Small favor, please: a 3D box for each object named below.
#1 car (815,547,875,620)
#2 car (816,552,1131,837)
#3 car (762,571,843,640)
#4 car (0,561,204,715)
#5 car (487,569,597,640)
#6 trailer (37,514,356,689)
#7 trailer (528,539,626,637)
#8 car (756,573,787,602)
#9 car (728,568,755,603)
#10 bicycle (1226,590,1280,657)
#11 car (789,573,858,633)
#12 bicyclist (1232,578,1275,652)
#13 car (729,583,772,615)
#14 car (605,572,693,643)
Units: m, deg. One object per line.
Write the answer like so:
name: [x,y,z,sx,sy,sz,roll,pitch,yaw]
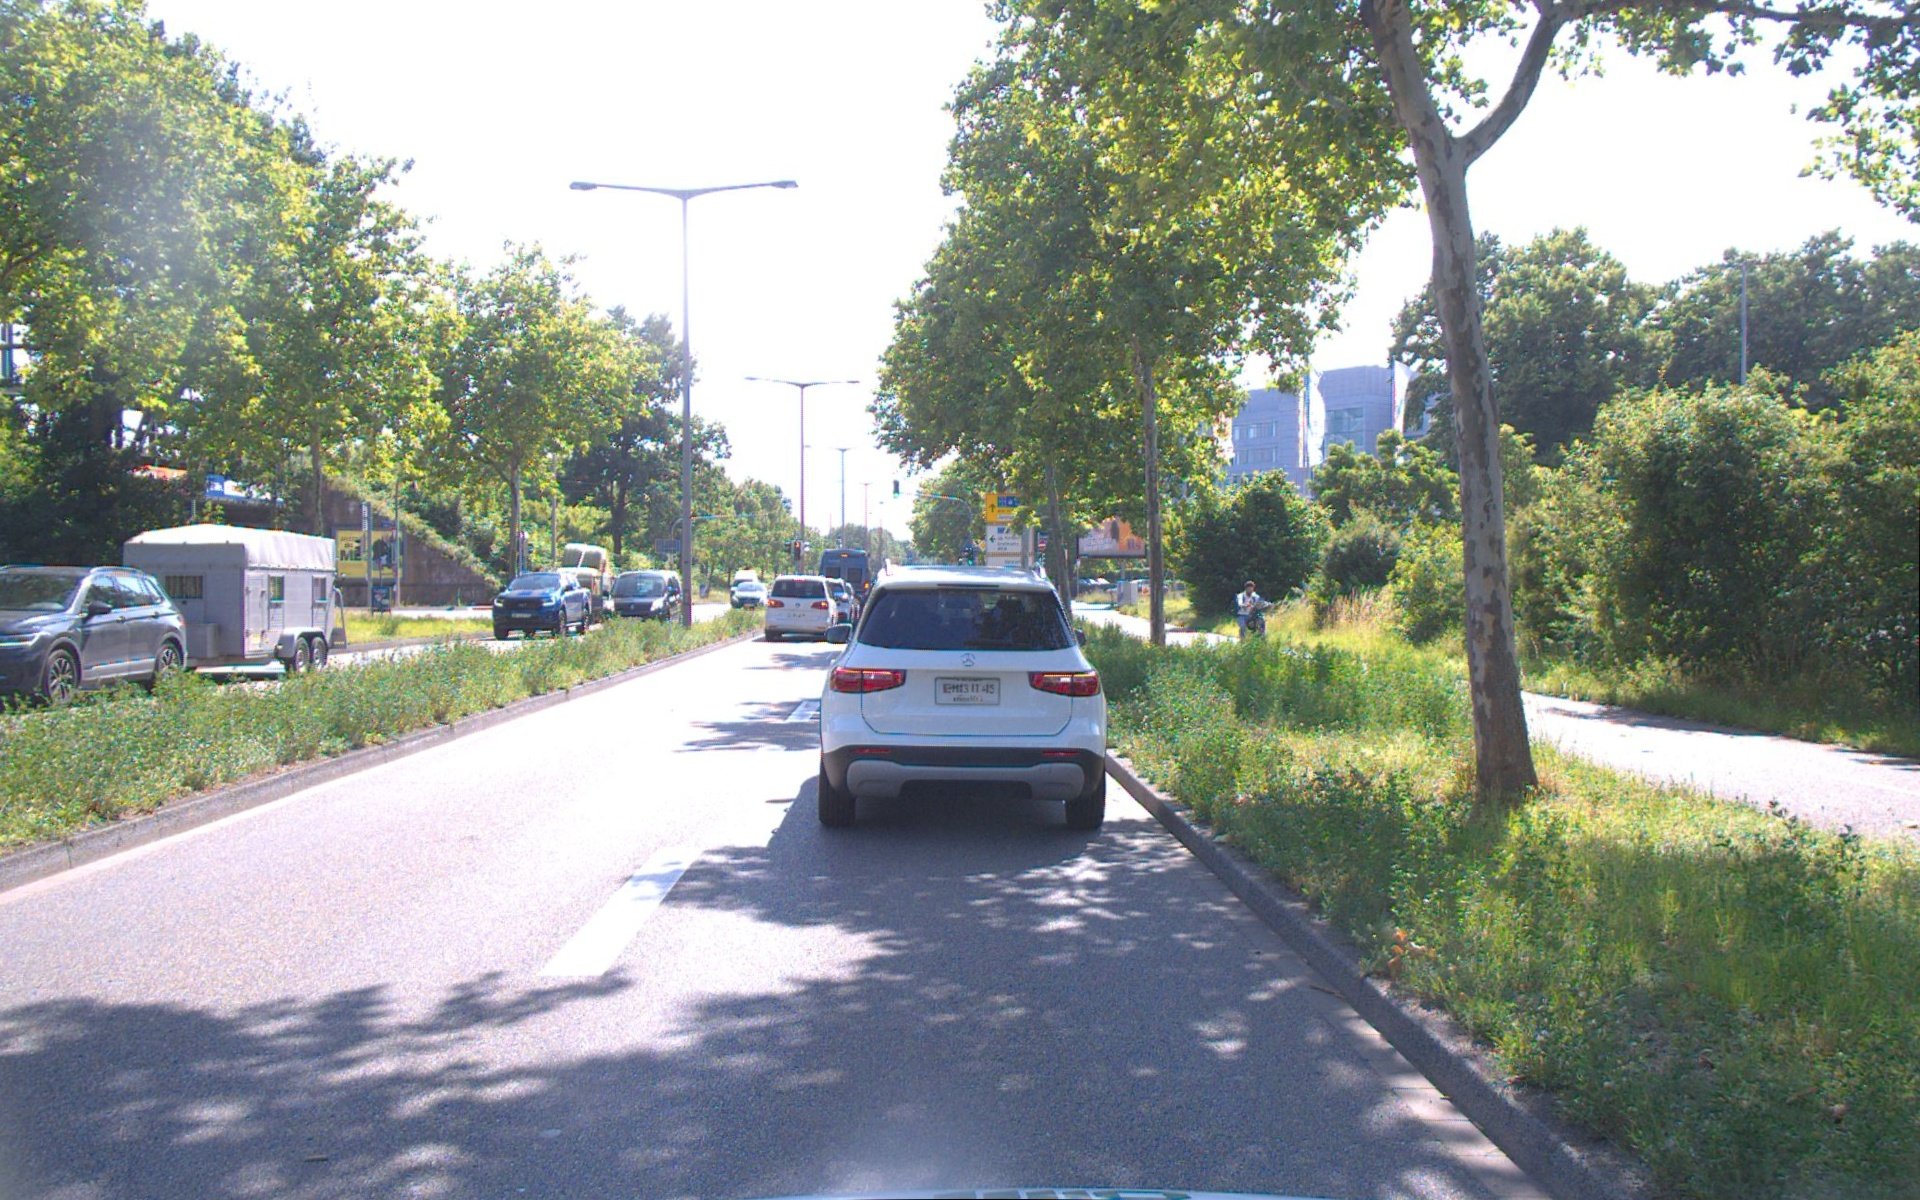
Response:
car: [-4.513,-0.643,65.397,2.039,2.703,4.873,1,0,-1]
car: [0.009,0.529,11.547,1.816,1.635,3.998,0,0,-2]
car: [-4.068,0.129,43.189,1.735,1.676,4.351,1,0,-1]
car: [-10.883,0.391,19.839,1.680,1.650,4.360,0,0,-1]
car: [-11.553,0.102,46.048,1.728,1.821,5.375,2,0,-1]
trailer: [-11.172,0.007,24.795,2.262,2.305,5.537,0,0,-1]
trailer: [-11.614,-0.370,50.464,1.842,2.791,4.828,2,0,-1]
car: [-13.065,-0.891,114.669,1.955,1.914,3.996,2,0,-5]
car: [-16.207,-1.081,122.843,1.956,2.460,5.131,1,1,-7]
bicycle: [6.083,0.469,34.460,0.708,1.321,2.095,1,0,-1]
car: [-4.033,0.076,49.396,1.735,1.676,4.084,1,0,-1]
bicyclist: [6.104,0.298,34.461,0.690,1.503,1.009,1,0,-1]
car: [-10.015,-0.059,79.228,1.570,1.497,3.789,1,0,-1]
car: [-8.711,0.192,46.631,1.696,1.840,4.231,2,0,-1]
